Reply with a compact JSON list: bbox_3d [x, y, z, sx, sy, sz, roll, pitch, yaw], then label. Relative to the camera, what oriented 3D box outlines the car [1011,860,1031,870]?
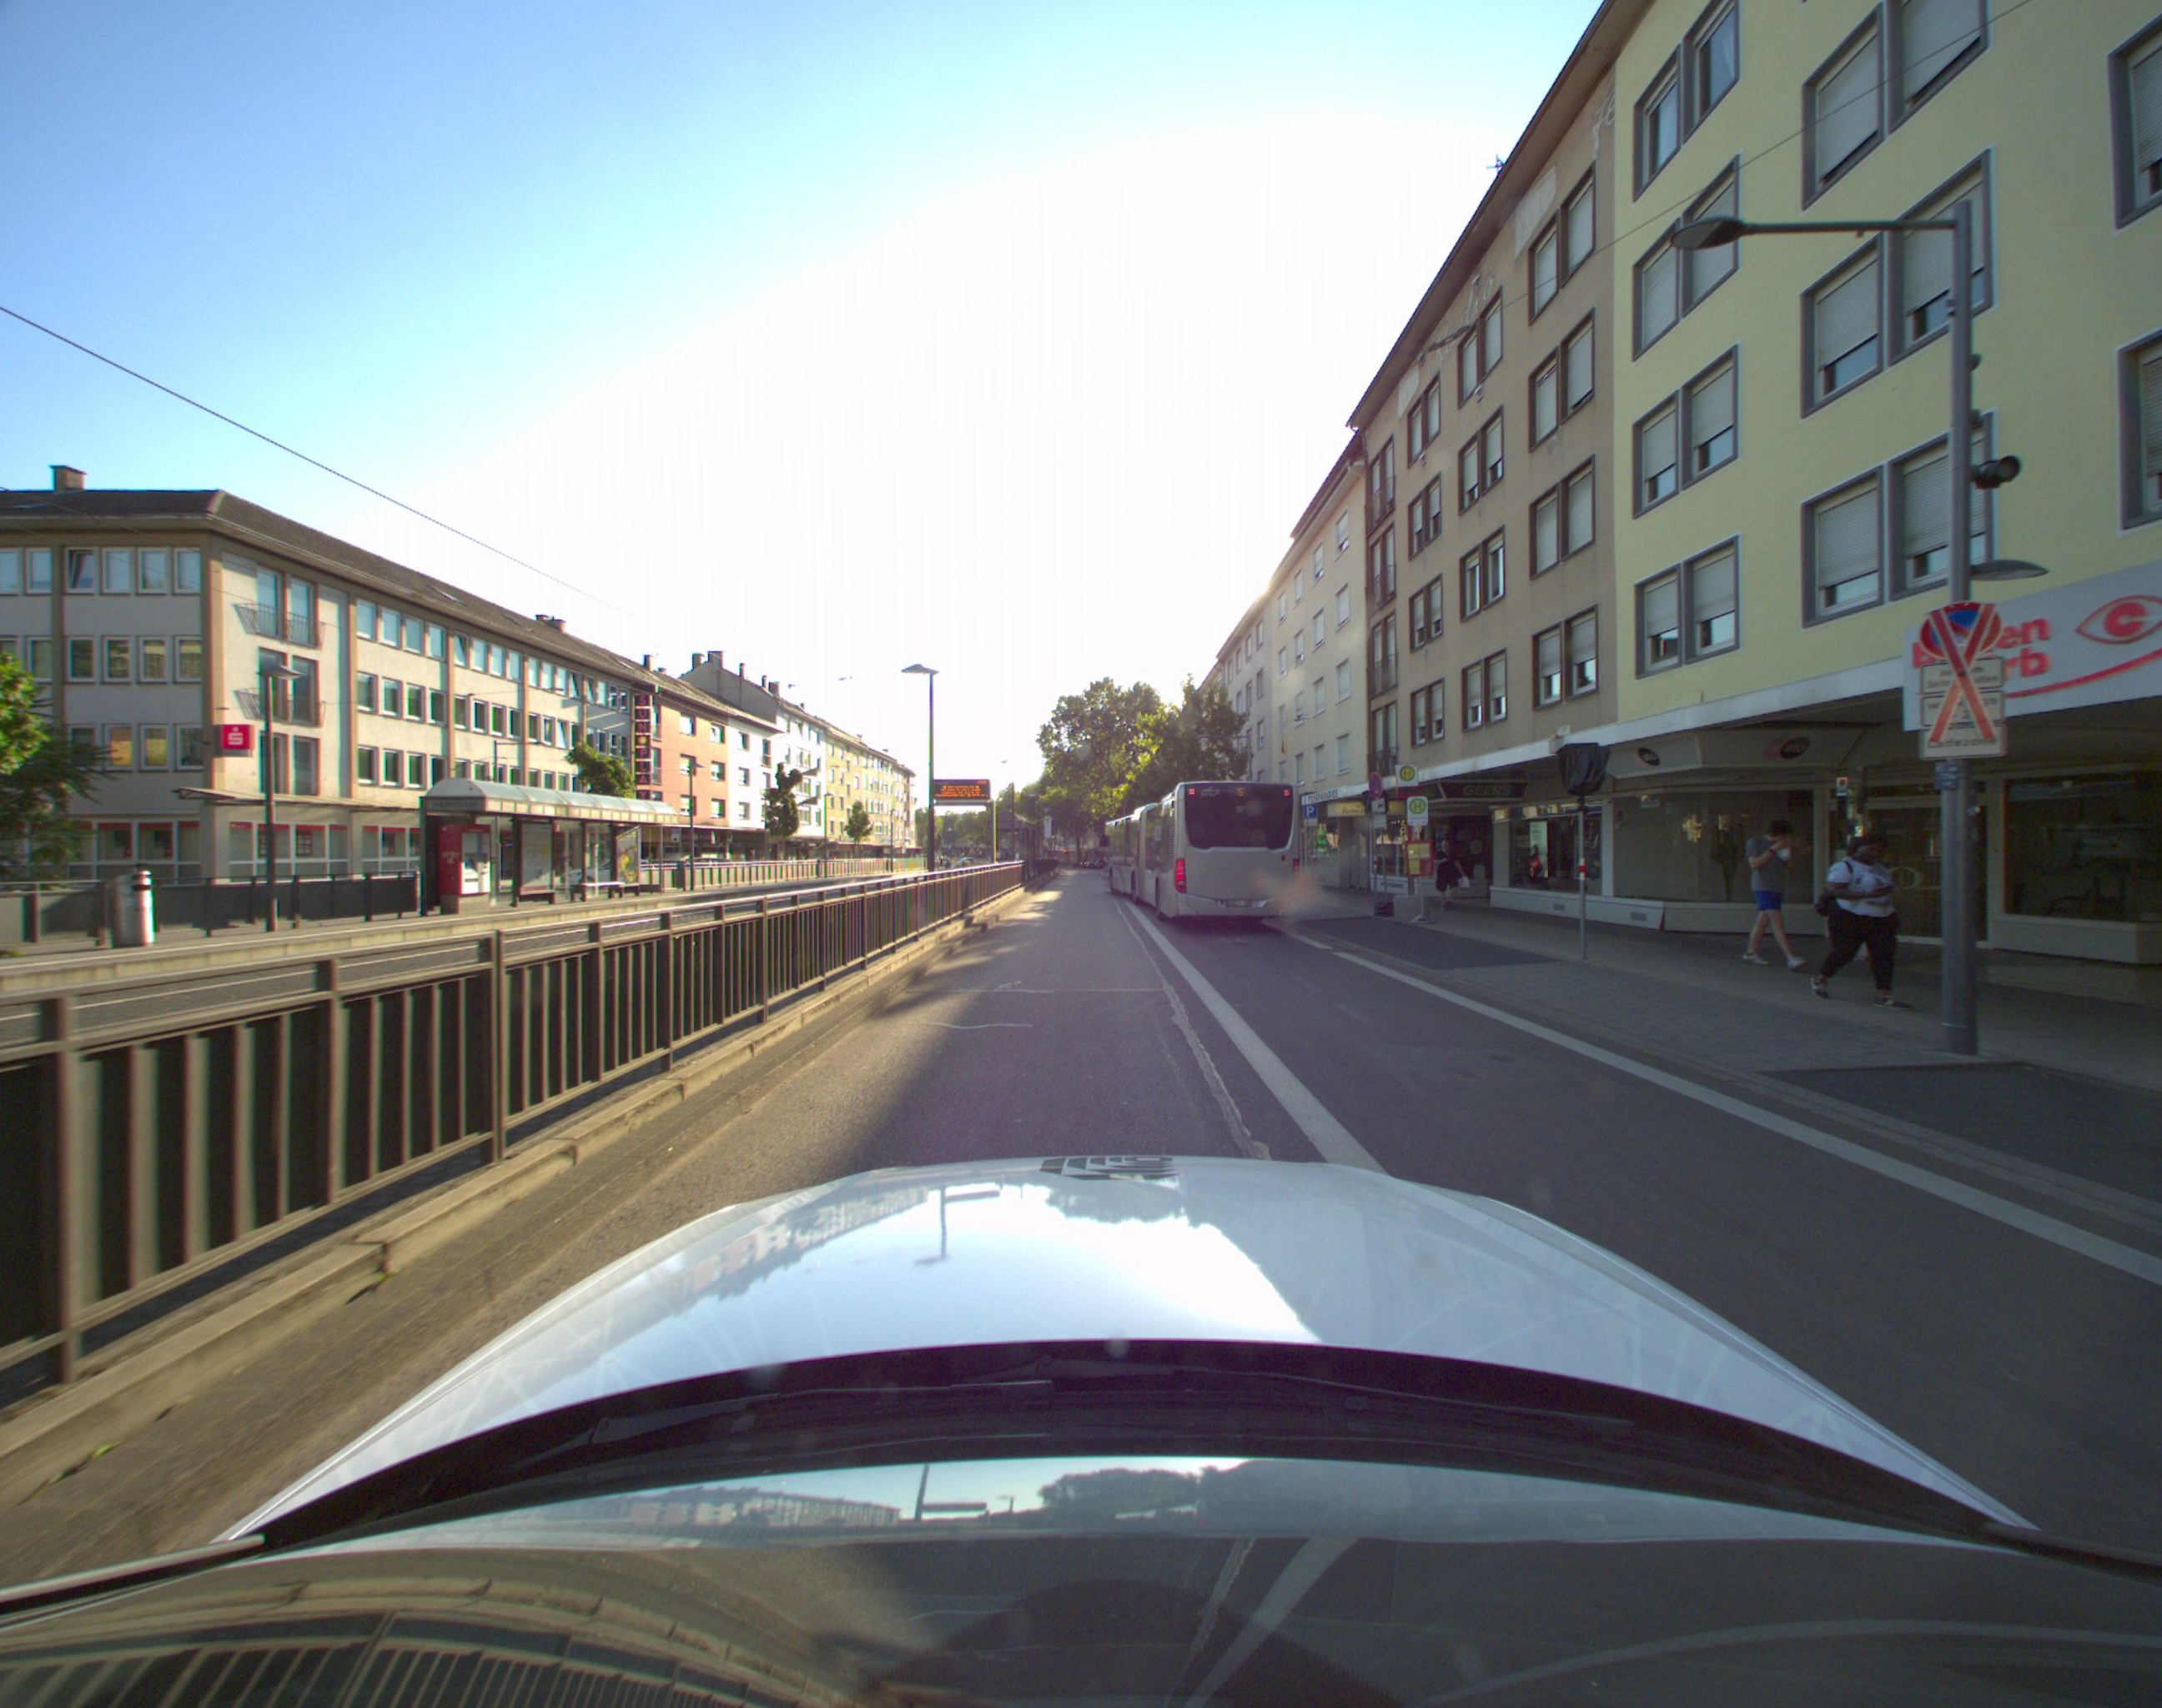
[{"bbox_3d":[-12.077,2.247,164.161,3.984,2.013,1.958,-1,0,-8],"label":"car"}]

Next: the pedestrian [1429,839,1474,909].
[{"bbox_3d":[8.920,0.478,19.617,0.721,1.632,0.766,-1,0,0],"label":"pedestrian"}]

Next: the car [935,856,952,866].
[{"bbox_3d":[-22.601,1.127,133.960,1.987,1.651,4.000,-1,0,0],"label":"car"}]

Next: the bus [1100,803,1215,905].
[{"bbox_3d":[2.459,-0.002,29.590,2.692,3.118,9.055,0,0,-4],"label":"bus"}]

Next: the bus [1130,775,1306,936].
[{"bbox_3d":[2.956,0.016,20.523,2.689,3.118,9.377,0,0,-1],"label":"bus"}]

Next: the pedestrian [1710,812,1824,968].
[{"bbox_3d":[8.443,0.429,10.053,0.721,1.840,0.766,-1,0,0],"label":"pedestrian"}]

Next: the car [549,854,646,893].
[{"bbox_3d":[-22.665,0.876,38.238,1.748,1.679,3.533,-1,0,40],"label":"car"}]

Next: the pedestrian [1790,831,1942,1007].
[{"bbox_3d":[7.474,0.589,7.796,0.608,1.578,0.851,-1,0,0],"label":"pedestrian"}]

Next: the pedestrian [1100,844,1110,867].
[{"bbox_3d":[2.687,0.164,90.872,0.884,2.546,1.165,-1,0,7],"label":"pedestrian"}]
